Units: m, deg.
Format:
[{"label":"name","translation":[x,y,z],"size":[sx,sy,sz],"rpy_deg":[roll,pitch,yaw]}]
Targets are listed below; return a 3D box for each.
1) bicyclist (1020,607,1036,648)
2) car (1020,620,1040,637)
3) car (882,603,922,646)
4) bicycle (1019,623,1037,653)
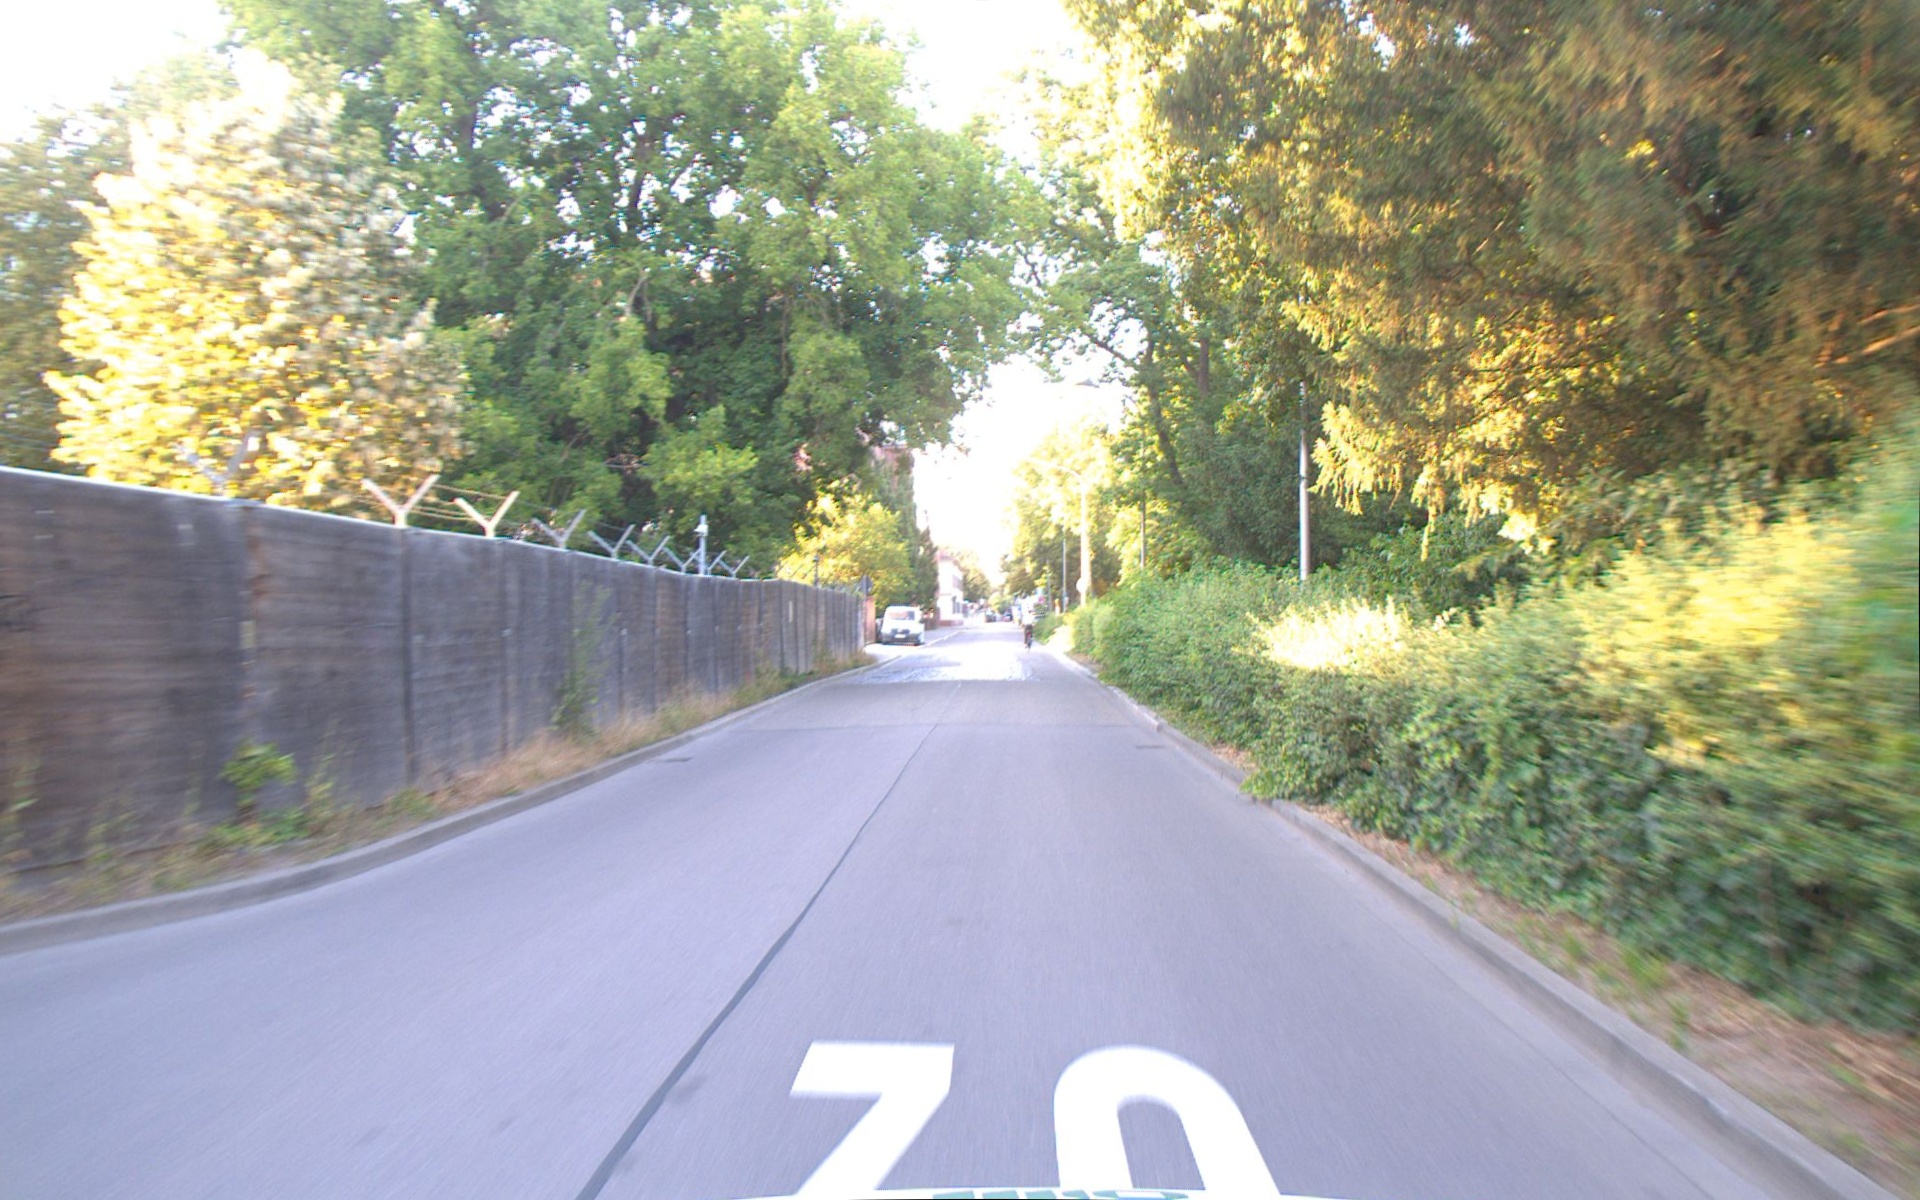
[{"label":"bicyclist","translation":[2.891,1.172,70.440],"size":[0.626,1.696,0.842],"rpy_deg":[1,-1,-1]},{"label":"car","translation":[6.649,2.660,156.640],"size":[1.680,1.565,4.048],"rpy_deg":[-1,-1,-1]},{"label":"car","translation":[-2.913,1.280,83.831],"size":[1.844,2.049,5.225],"rpy_deg":[1,-2,0]},{"label":"bicycle","translation":[2.886,1.604,70.277],"size":[0.625,1.214,1.875],"rpy_deg":[1,-1,0]}]
